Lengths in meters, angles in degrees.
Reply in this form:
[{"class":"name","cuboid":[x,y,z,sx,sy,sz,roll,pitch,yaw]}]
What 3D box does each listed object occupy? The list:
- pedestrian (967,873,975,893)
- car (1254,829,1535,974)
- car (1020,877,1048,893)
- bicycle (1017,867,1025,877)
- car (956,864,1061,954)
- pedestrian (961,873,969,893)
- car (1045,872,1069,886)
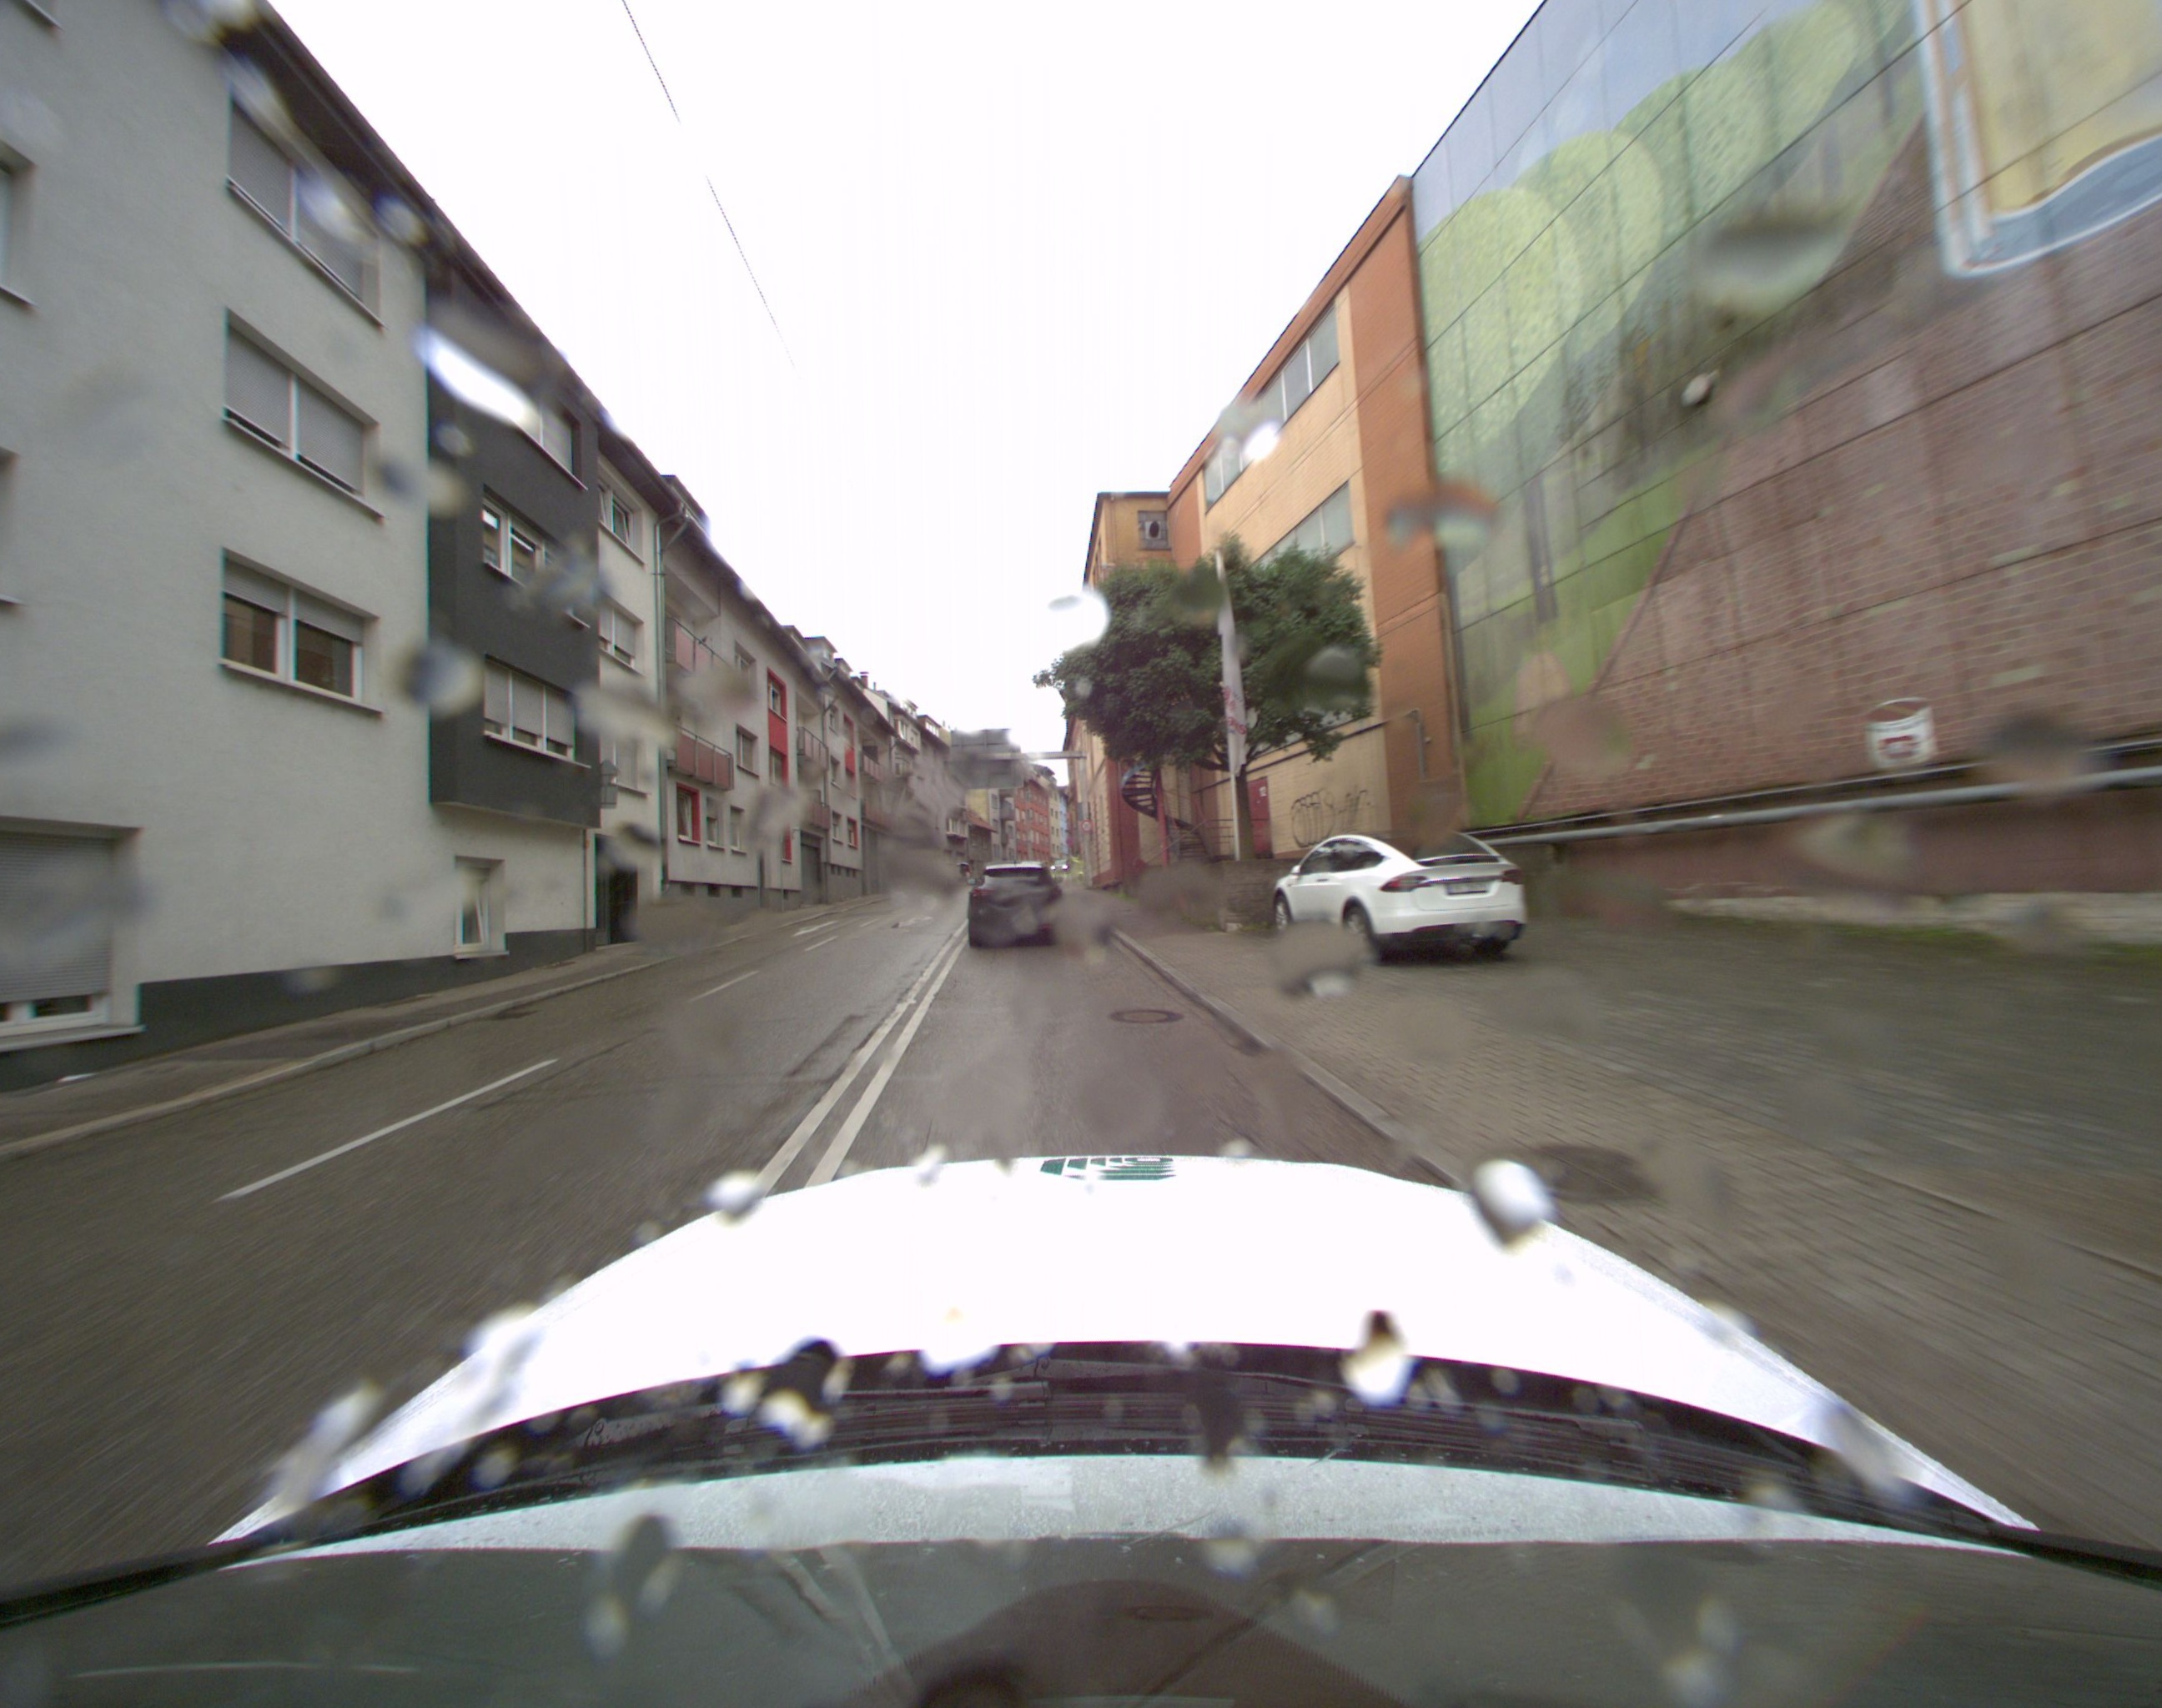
[{"class":"pedestrian","cuboid":[-9.894,2.607,73.505,0.521,1.776,0.622,-4,0,2]},{"class":"car","cuboid":[4.223,0.547,12.015,1.850,1.617,4.906,-3,0,-5]},{"class":"car","cuboid":[-4.604,3.066,80.208,1.783,1.510,4.011,-3,-3,11]},{"class":"bicycle","cuboid":[-7.343,2.156,99.710,0.495,1.107,1.805,-3,1,9]},{"class":"car","cuboid":[-1.503,1.016,16.643,1.879,1.594,3.912,0,-1,-6]},{"class":"pedestrian","cuboid":[-10.440,2.636,73.518,0.521,1.776,0.622,-4,0,2]},{"class":"car","cuboid":[-2.709,2.899,93.086,1.783,1.510,4.011,-3,-3,11]}]
